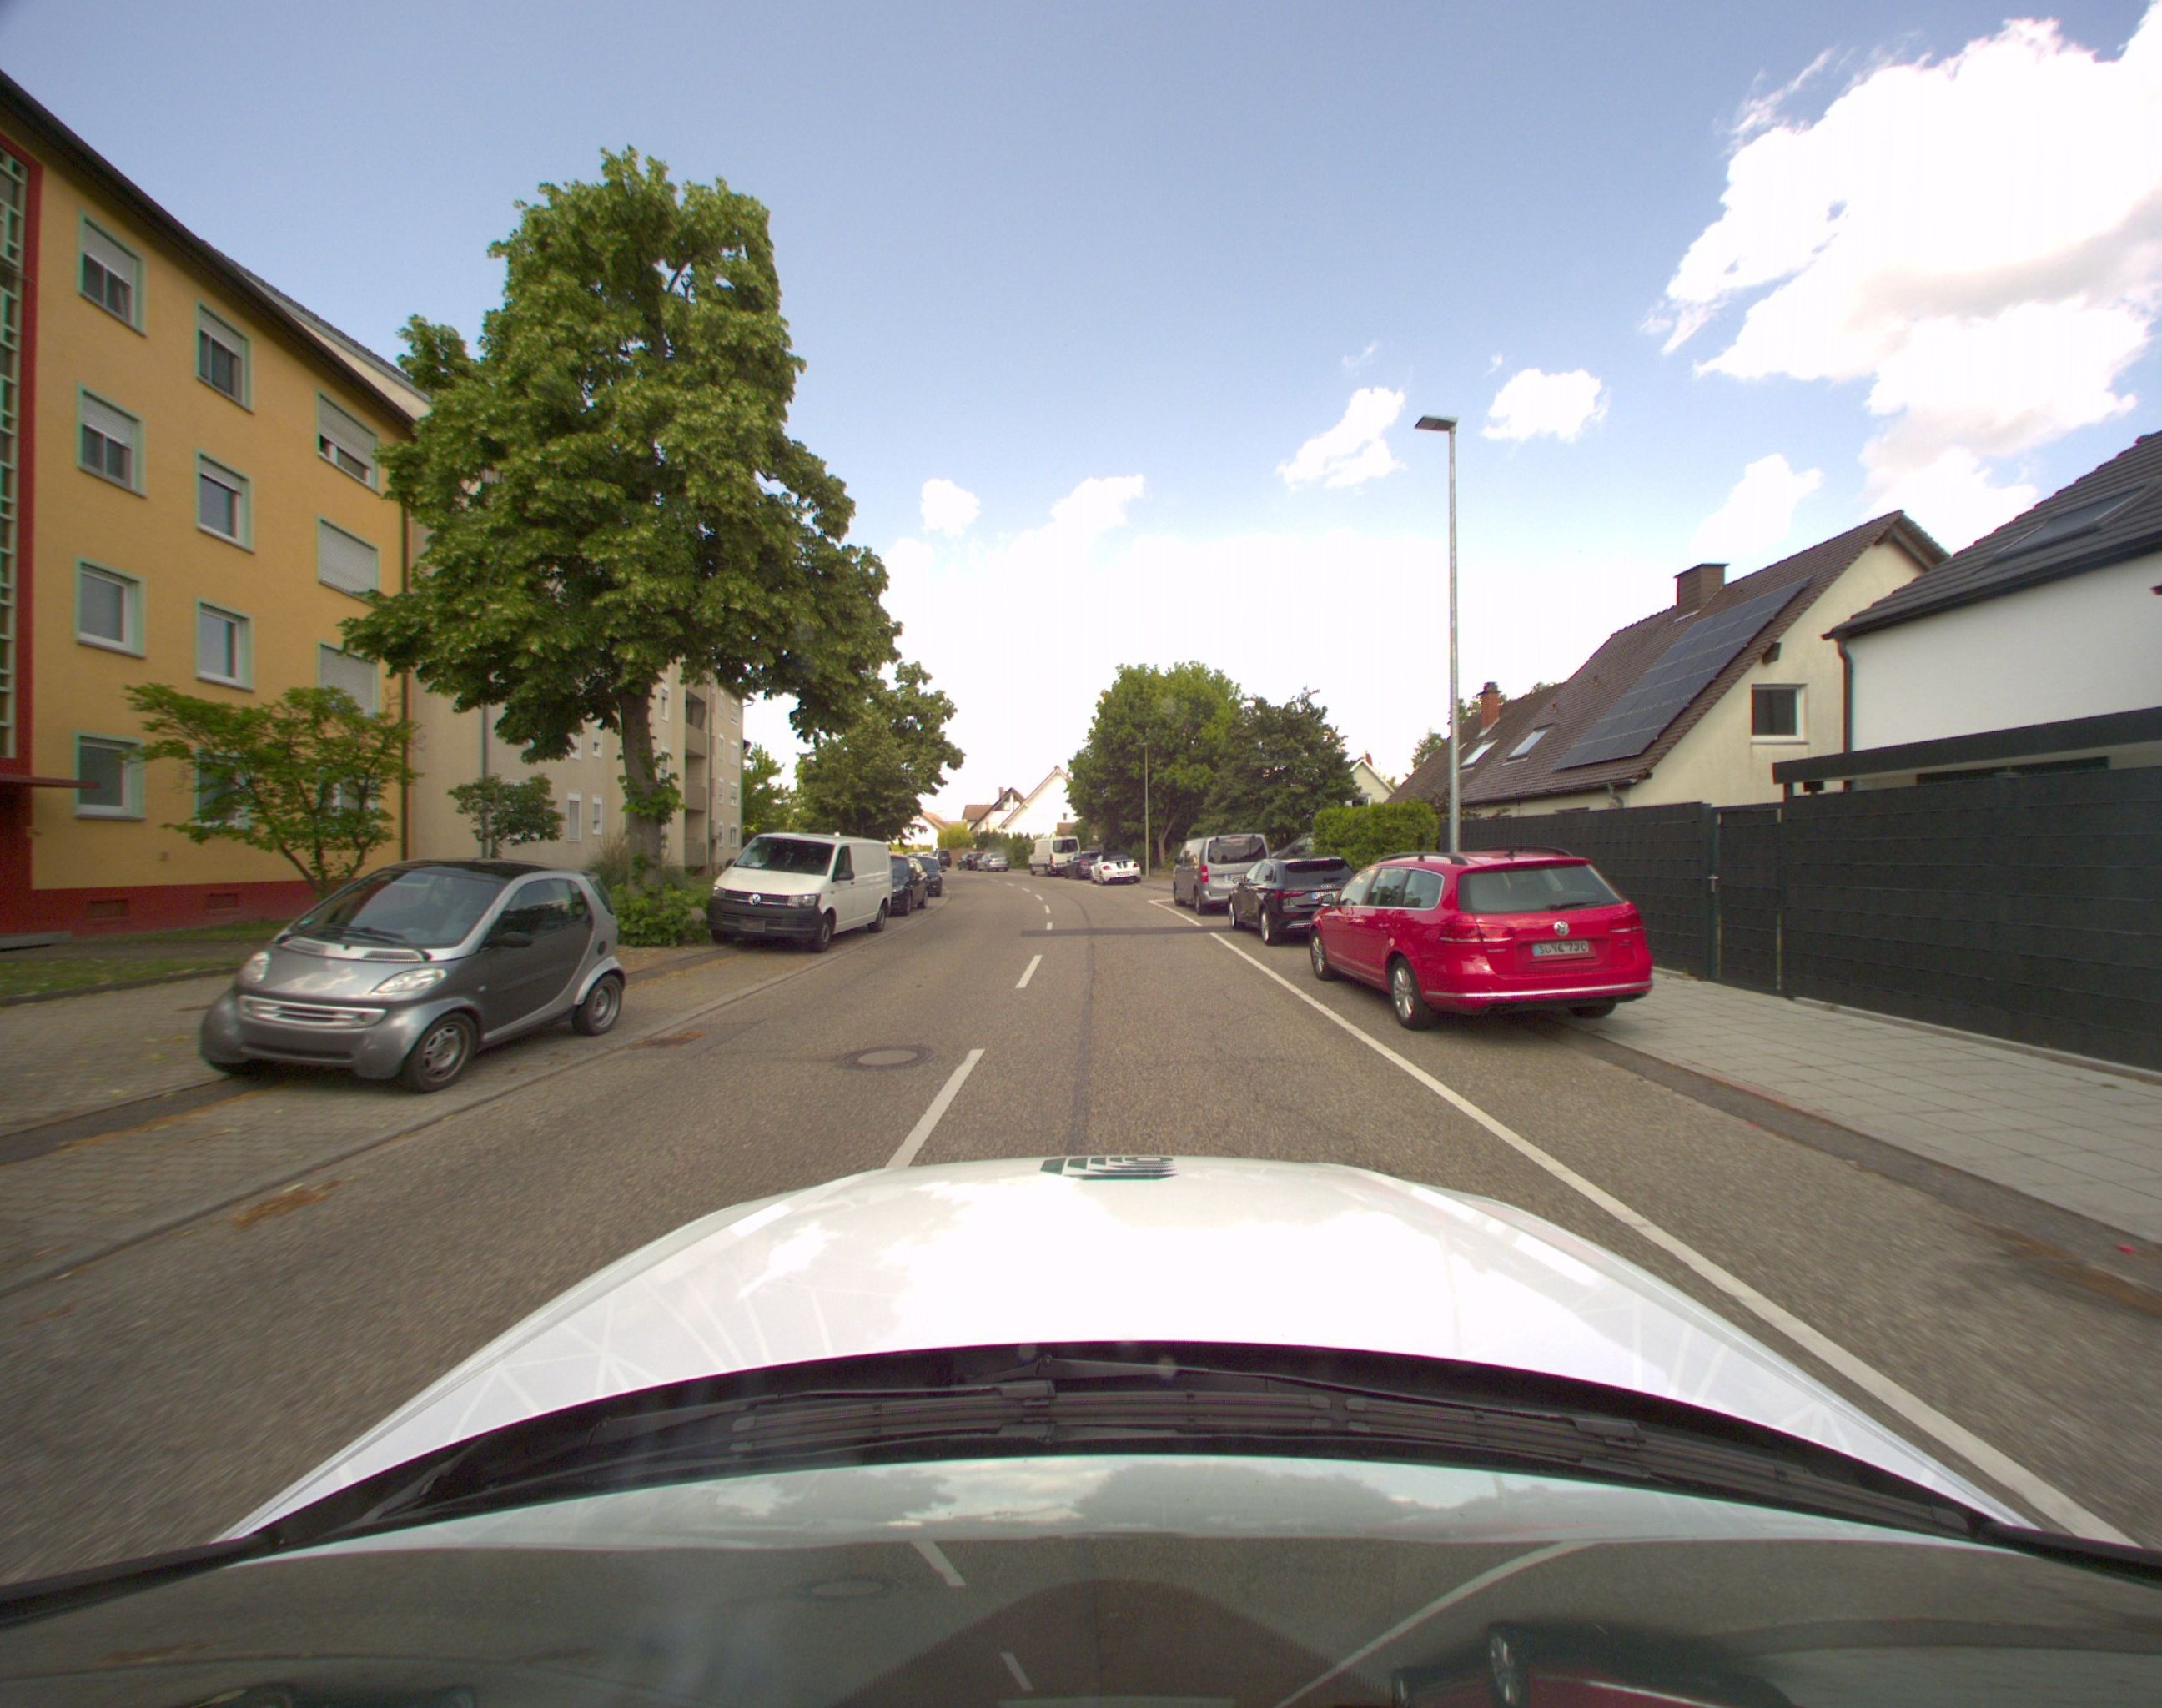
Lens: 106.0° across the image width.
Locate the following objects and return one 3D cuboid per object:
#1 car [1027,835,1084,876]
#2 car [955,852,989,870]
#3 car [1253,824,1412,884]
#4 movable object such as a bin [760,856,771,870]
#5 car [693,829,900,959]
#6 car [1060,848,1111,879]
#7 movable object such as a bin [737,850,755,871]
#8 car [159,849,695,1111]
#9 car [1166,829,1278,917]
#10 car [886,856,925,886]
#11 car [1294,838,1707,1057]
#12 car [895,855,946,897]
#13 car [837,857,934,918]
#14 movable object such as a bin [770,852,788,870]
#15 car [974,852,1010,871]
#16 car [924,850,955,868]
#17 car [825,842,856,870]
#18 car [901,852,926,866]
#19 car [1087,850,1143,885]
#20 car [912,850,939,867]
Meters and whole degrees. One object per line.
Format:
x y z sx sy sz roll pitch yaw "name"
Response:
-1.696 0.086 51.002 2.122 2.441 5.861 -1 0 -17 "car"
-9.390 0.579 69.781 1.745 1.509 4.440 0 0 -24 "car"
8.972 -0.004 29.384 5.301 2.057 2.008 0 0 15 "car"
-24.079 0.668 62.104 0.625 1.024 0.874 -1 4 -13 "movable object such as a bin"
-5.034 0.594 15.371 1.872 2.009 5.324 1 0 1 "car"
0.198 0.501 44.885 1.721 1.585 4.101 -1 0 -16 "car"
-25.169 0.499 61.195 1.202 1.437 1.360 -2 4 -25 "movable object such as a bin"
-5.094 0.804 7.116 1.512 1.549 3.755 5 1 0 "car"
3.532 0.423 21.369 1.838 1.944 4.872 -3 0 -2 "car"
-9.057 0.828 42.210 1.838 1.439 4.075 2 0 -11 "car"
3.669 0.672 8.291 1.843 1.579 4.733 -1 0 1 "car"
-6.163 0.800 31.429 1.761 1.489 4.018 1 0 -11 "car"
-5.287 0.848 22.589 1.756 1.489 4.501 0 0 -2 "car"
-23.101 0.519 62.345 1.193 1.274 0.874 -1 4 -13 "movable object such as a bin"
-7.105 0.579 64.704 1.744 1.457 4.333 -1 0 -22 "car"
-14.056 0.492 80.470 1.804 1.748 4.544 0 0 -27 "car"
-23.293 0.216 78.704 2.073 2.501 5.795 4 -1 -23 "car"
-18.586 0.558 90.300 1.804 1.523 3.939 0 0 -27 "car"
1.502 0.586 37.845 1.740 1.512 4.444 -1 0 -10 "car"
-16.483 0.422 86.213 1.805 1.748 3.938 0 0 -28 "car"
